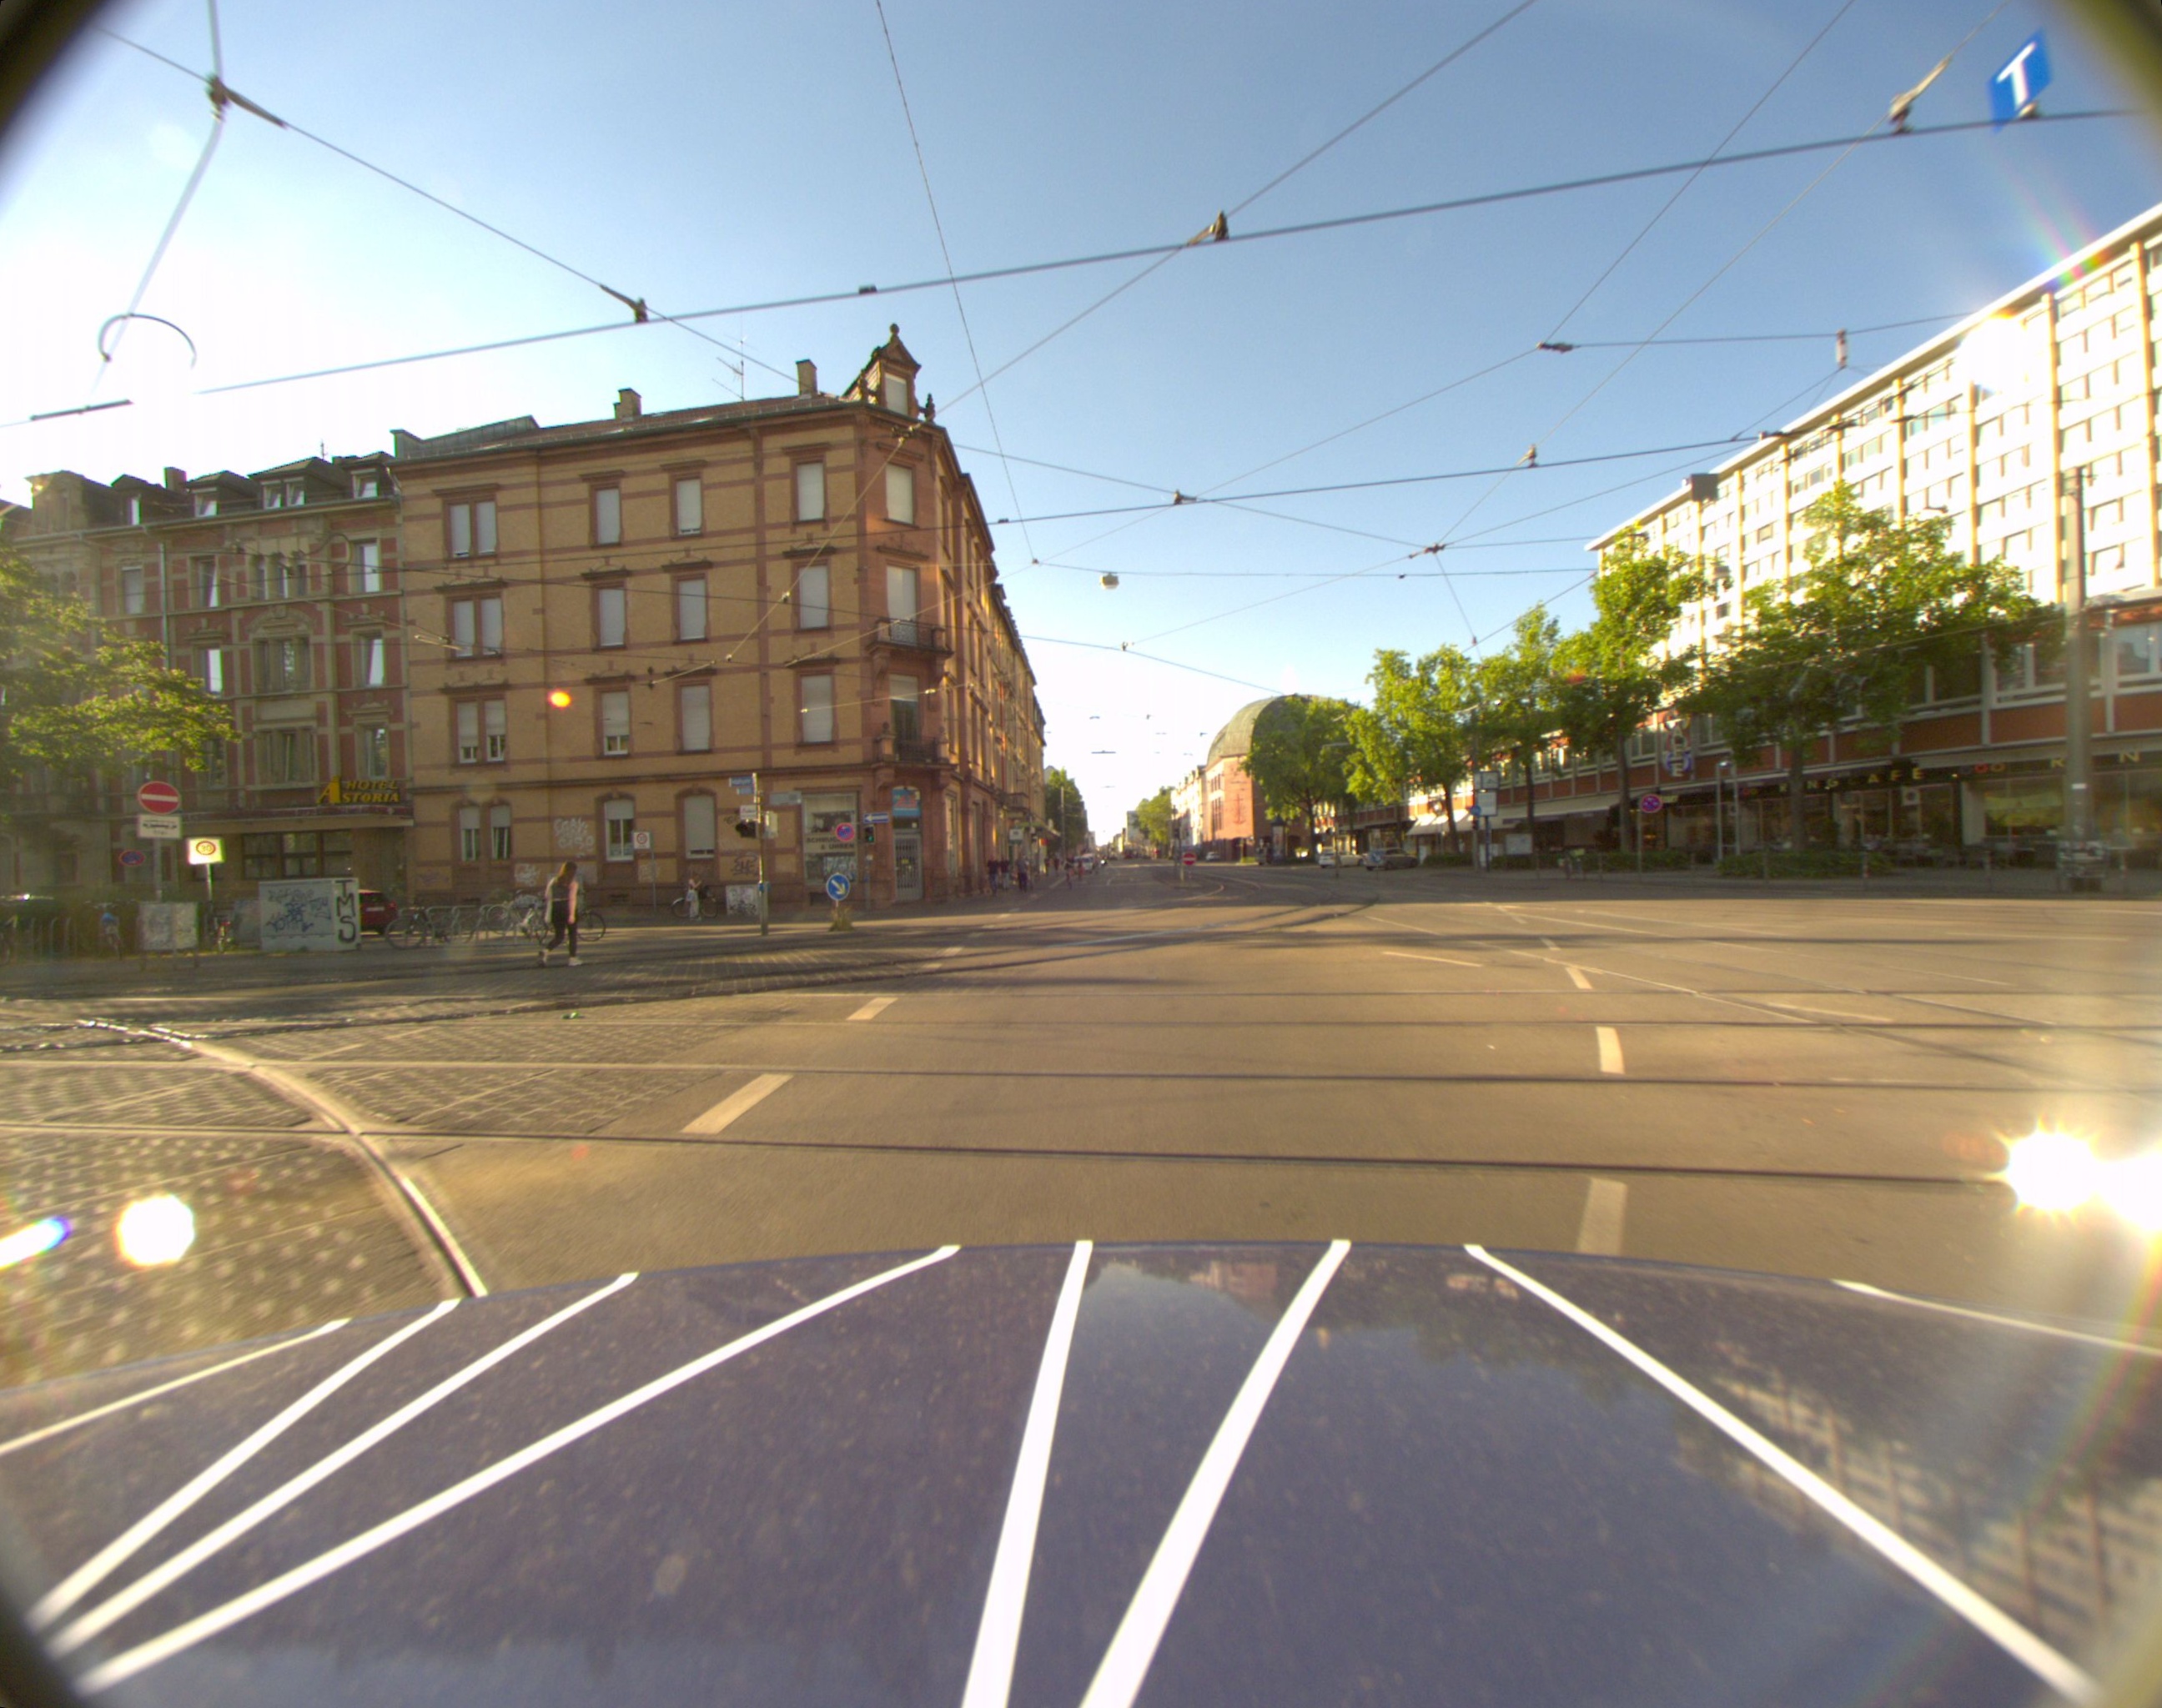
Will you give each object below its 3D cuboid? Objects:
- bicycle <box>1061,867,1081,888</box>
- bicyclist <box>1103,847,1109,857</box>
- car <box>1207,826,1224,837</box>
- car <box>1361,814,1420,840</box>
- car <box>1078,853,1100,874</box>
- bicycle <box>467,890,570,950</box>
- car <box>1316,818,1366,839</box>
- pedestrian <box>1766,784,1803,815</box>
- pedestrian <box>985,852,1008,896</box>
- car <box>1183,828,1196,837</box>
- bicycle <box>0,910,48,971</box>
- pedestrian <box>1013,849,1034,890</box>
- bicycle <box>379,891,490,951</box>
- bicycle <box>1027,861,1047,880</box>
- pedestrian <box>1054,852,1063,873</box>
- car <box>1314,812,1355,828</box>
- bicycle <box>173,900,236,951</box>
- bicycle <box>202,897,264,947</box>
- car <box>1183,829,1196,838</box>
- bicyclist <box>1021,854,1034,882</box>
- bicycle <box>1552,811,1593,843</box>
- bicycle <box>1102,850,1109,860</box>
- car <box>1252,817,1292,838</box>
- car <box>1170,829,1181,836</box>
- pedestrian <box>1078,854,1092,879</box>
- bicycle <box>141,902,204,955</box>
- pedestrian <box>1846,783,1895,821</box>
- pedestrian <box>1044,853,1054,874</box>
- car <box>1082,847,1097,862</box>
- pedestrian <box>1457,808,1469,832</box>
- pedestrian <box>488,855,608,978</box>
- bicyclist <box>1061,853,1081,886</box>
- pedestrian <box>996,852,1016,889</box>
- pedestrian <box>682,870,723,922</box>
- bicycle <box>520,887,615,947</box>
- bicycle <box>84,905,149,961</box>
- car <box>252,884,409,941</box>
[{"bbox_3d":[-0.510,1.208,39.779,0.885,0.949,1.765,-2,2,5],"label":"bicycle"},{"bbox_3d":[3.058,-0.241,93.864,0.646,1.176,0.722,-3,2,-1],"label":"bicyclist"},{"bbox_3d":[21.558,-3.655,121.952,1.910,1.594,3.998,-4,2,0],"label":"car"},{"bbox_3d":[22.133,-1.925,54.321,4.005,1.545,1.794,-5,2,-30],"label":"car"},{"bbox_3d":[0.752,0.856,71.118,1.670,1.674,4.000,-3,2,5],"label":"car"},{"bbox_3d":[-12.942,1.487,17.555,0.755,1.255,1.969,-2,-2,6],"label":"bicycle"},{"bbox_3d":[22.265,-2.188,65.074,4.005,1.467,1.794,-5,2,-30],"label":"car"},{"bbox_3d":[30.269,-2.353,32.694,0.838,1.256,0.908,-2,2,17],"label":"pedestrian"},{"bbox_3d":[-3.404,0.802,30.691,0.777,1.713,0.754,-1,2,2],"label":"pedestrian"},{"bbox_3d":[22.087,-4.391,155.300,1.964,1.594,3.998,-4,2,0],"label":"car"},{"bbox_3d":[-22.120,1.781,15.774,1.795,1.101,0.501,-1,3,44],"label":"bicycle"},{"bbox_3d":[-2.748,0.743,36.388,0.823,1.884,0.754,-1,2,2],"label":"pedestrian"},{"bbox_3d":[-14.869,1.514,17.558,0.755,1.255,1.969,-2,-2,6],"label":"bicycle"},{"bbox_3d":[-2.993,1.105,51.779,0.669,1.246,1.891,-4,2,-24],"label":"bicycle"},{"bbox_3d":[-1.863,0.724,62.365,0.700,1.713,0.502,-1,2,3],"label":"pedestrian"},{"bbox_3d":[35.450,-4.796,106.220,4.983,2.002,1.999,-3,2,0],"label":"car"},{"bbox_3d":[-20.253,1.633,17.543,1.795,1.101,0.501,-2,3,28],"label":"bicycle"},{"bbox_3d":[-20.070,1.592,17.970,1.795,1.101,0.501,-2,3,28],"label":"bicycle"},{"bbox_3d":[21.229,-4.051,149.037,1.964,1.594,3.998,-4,2,0],"label":"car"},{"bbox_3d":[-3.637,0.957,51.466,0.600,1.872,0.742,-4,2,-24],"label":"bicyclist"},{"bbox_3d":[19.535,-1.074,30.253,0.582,1.228,1.857,-4,2,7],"label":"bicycle"},{"bbox_3d":[3.013,0.086,93.827,0.646,1.176,1.804,-3,2,-1],"label":"bicycle"},{"bbox_3d":[21.092,-2.923,83.796,4.005,1.953,1.907,-5,2,-33],"label":"car"},{"bbox_3d":[21.709,-4.982,174.431,1.964,1.594,3.998,-4,2,0],"label":"car"},{"bbox_3d":[0.270,0.836,52.085,0.849,1.652,0.850,-3,2,5],"label":"pedestrian"},{"bbox_3d":[-20.491,1.657,17.127,1.795,1.101,0.501,-2,3,28],"label":"bicycle"},{"bbox_3d":[30.291,-1.981,29.173,0.936,1.388,0.890,-3,2,3],"label":"pedestrian"},{"bbox_3d":[-2.626,0.778,62.682,0.700,1.713,0.681,-1,2,3],"label":"pedestrian"},{"bbox_3d":[1.061,0.039,93.051,1.670,1.674,4.000,-3,2,3],"label":"car"},{"bbox_3d":[27.712,-2.475,55.158,0.635,1.759,0.769,-2,3,18],"label":"pedestrian"},{"bbox_3d":[-8.416,0.945,12.062,1.025,1.797,1.082,-3,2,-2],"label":"pedestrian"},{"bbox_3d":[-0.528,0.784,39.773,0.885,1.651,0.803,-2,2,5],"label":"bicyclist"},{"bbox_3d":[-3.612,0.800,36.674,0.777,1.713,0.754,-1,2,2],"label":"pedestrian"},{"bbox_3d":[-12.468,1.374,25.048,0.743,1.563,0.763,-4,6,8],"label":"pedestrian"},{"bbox_3d":[-11.580,1.393,17.212,0.755,1.255,1.836,-2,-2,6],"label":"bicycle"},{"bbox_3d":[-20.935,1.694,16.483,1.795,1.101,0.501,-2,3,28],"label":"bicycle"},{"bbox_3d":[-23.300,1.799,23.632,3.574,1.487,1.699,-3,0,12],"label":"car"}]
